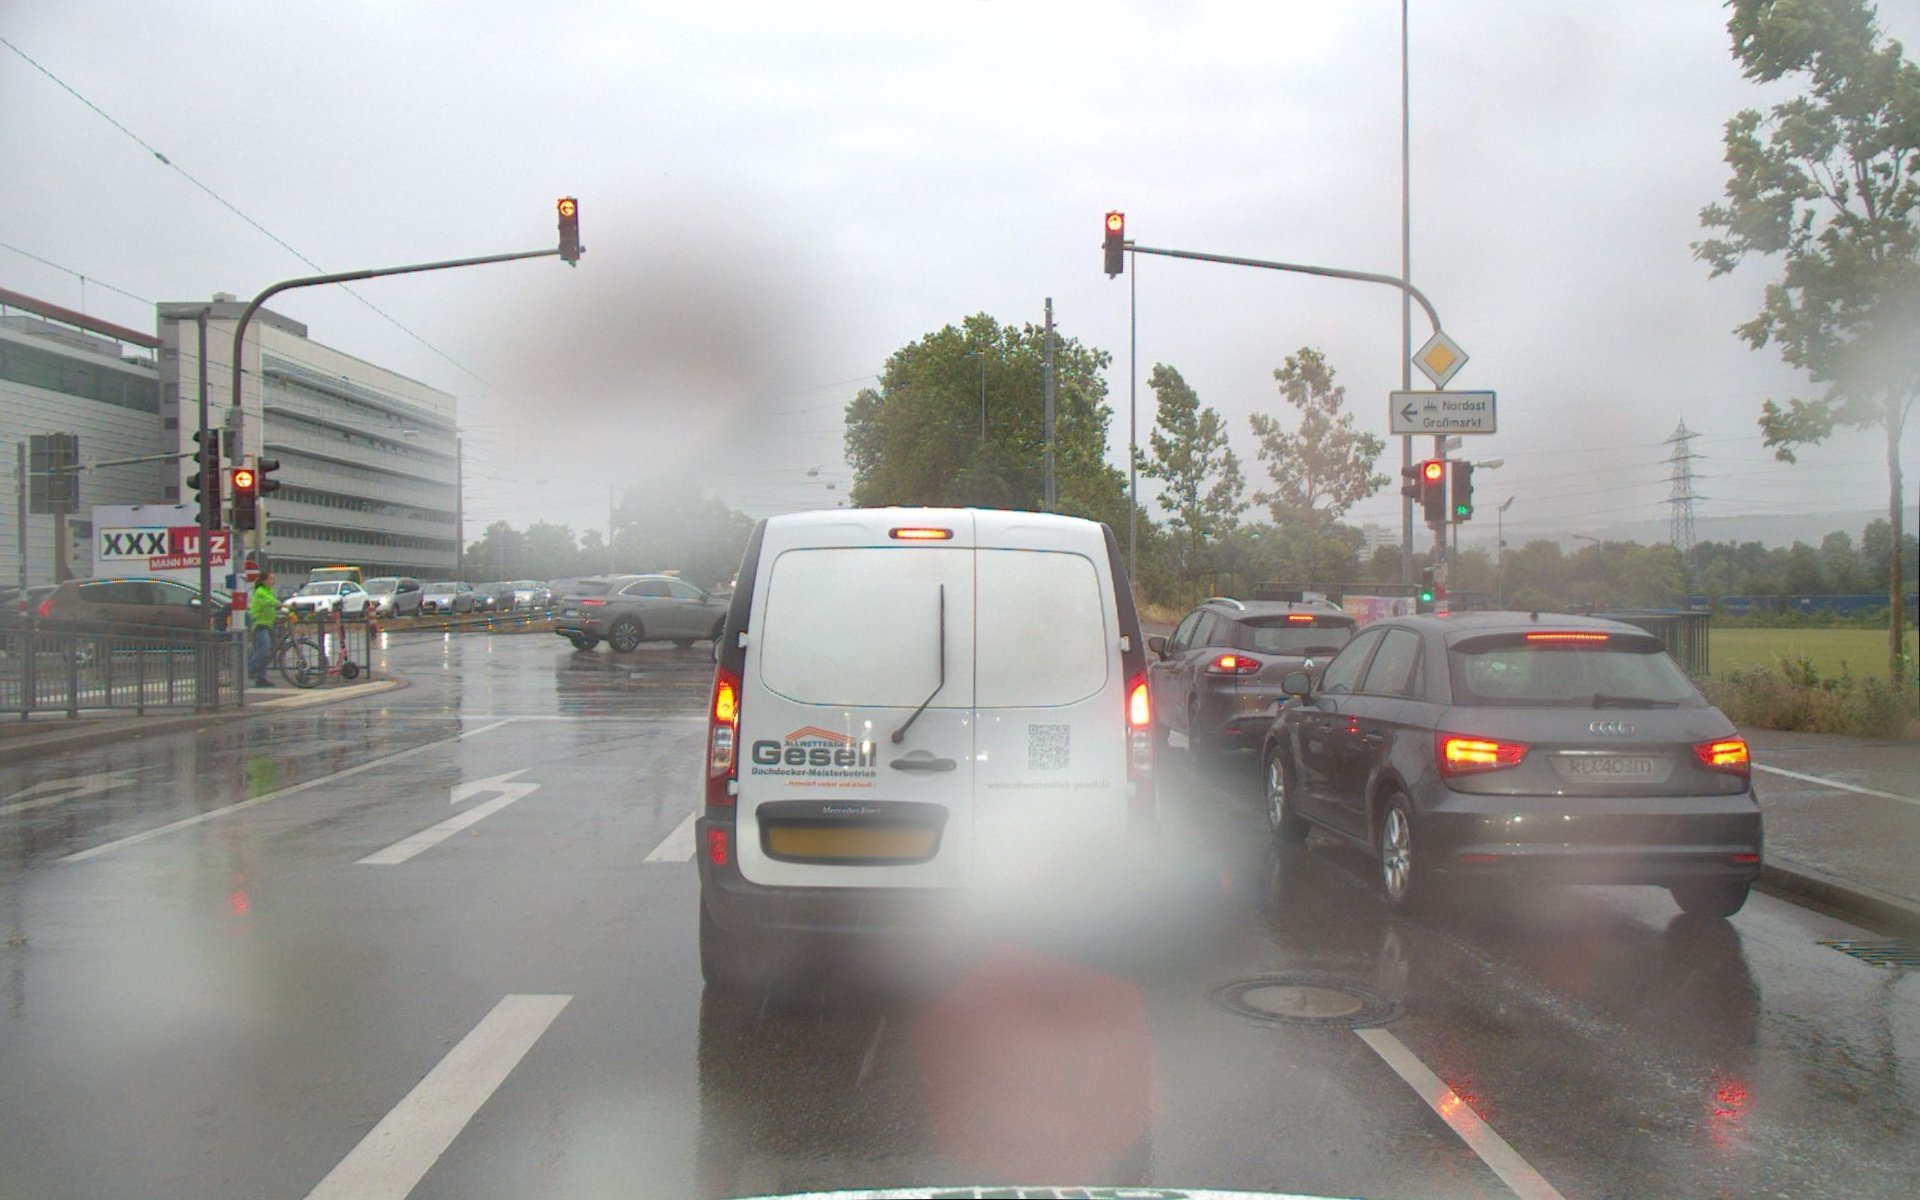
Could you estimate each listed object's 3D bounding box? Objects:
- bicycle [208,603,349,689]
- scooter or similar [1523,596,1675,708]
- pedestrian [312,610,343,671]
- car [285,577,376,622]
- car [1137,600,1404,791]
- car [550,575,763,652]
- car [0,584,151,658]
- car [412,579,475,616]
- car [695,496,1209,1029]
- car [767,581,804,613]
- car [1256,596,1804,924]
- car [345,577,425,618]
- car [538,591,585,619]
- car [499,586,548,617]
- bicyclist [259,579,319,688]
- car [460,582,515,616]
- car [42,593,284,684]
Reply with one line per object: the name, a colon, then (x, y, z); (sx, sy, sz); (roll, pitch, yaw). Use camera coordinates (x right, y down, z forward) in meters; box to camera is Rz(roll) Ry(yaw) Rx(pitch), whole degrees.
bicycle: (-9.578, 0.637, 23.289); (1.745, 1.157, 0.512); (1, 0, -43)
scooter or similar: (7.637, 0.574, 19.936); (0.676, 1.232, 3.020); (0, 0, 0)
pedestrian: (-9.696, 0.614, 25.363); (0.309, 0.913, 0.380); (2, 0, -3)
car: (-21.586, 0.006, 56.841); (1.676, 1.451, 3.808); (2, -1, -1)
car: (2.775, 0.791, 15.596); (1.650, 1.534, 3.919); (1, 0, -2)
car: (-6.685, 0.325, 36.757); (1.686, 1.528, 4.476); (1, -1, 45)
car: (-19.232, 0.441, 34.963); (1.619, 1.422, 3.439); (4, 0, 37)
car: (-21.819, -0.084, 69.979); (1.528, 1.451, 3.568); (2, -1, -1)
car: (-0.168, 0.517, 7.673); (1.719, 1.780, 4.166); (1, 1, -4)
car: (-9.966, -0.152, 94.809); (1.909, 1.691, 4.460); (2, -1, -4)
car: (2.801, 0.720, 8.987); (1.565, 1.390, 3.628); (-1, -1, -3)
car: (-21.765, -0.061, 62.745); (1.676, 1.451, 3.808); (2, -1, -1)
car: (-21.854, 0.280, 90.855); (1.676, 1.451, 3.808); (2, -1, -1)
car: (-22.020, 0.091, 83.544); (1.528, 1.451, 3.568); (2, -1, -1)
bicyclist: (-9.489, 0.465, 23.388); (0.600, 1.517, 0.591); (2, 0, -41)
car: (-21.979, -0.023, 77.057); (1.528, 1.451, 3.568); (2, -1, -1)
car: (-14.717, 0.711, 30.747); (3.856, 1.422, 1.526); (4, 0, -22)
